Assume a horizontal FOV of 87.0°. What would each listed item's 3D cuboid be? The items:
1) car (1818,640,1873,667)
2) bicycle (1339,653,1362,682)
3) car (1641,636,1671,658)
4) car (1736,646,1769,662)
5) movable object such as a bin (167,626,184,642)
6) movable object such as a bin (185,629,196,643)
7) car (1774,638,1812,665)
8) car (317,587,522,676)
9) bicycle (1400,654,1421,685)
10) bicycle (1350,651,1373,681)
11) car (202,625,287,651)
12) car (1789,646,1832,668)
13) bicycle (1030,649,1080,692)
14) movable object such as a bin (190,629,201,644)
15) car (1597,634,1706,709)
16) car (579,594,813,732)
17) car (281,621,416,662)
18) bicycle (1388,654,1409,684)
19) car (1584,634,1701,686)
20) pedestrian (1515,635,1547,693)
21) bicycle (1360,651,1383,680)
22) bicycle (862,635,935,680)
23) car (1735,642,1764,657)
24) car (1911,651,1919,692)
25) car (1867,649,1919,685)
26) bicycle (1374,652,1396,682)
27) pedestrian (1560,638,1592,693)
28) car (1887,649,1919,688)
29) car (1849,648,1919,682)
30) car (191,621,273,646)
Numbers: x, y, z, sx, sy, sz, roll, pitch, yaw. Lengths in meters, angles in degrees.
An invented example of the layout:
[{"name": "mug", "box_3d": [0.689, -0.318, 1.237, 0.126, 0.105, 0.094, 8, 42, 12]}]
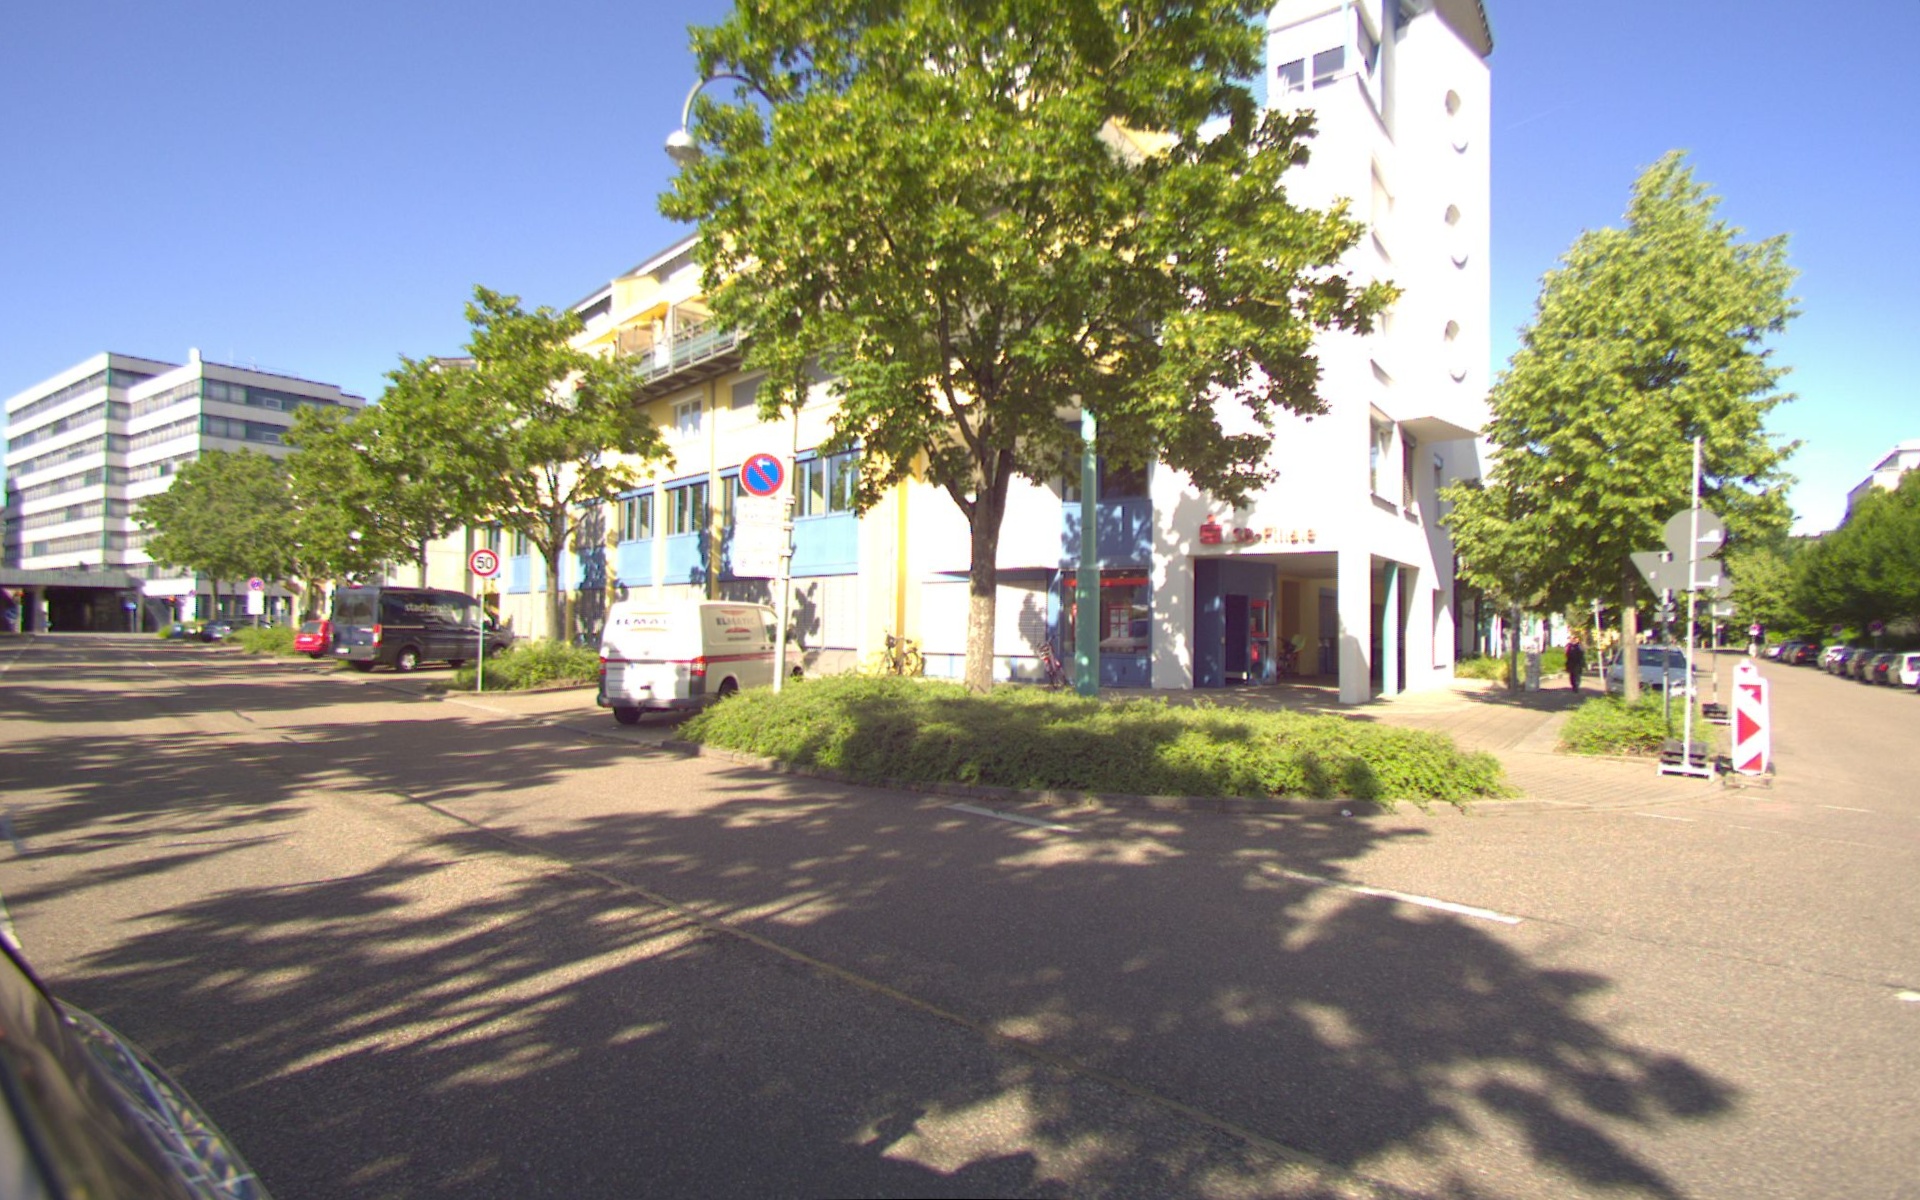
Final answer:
[{"name": "car", "box_3d": [52.686, 3.204, 60.275, 1.932, 1.516, 3.872, -4, -4, 35]}, {"name": "bicycle", "box_3d": [12.197, 2.095, 31.567, 0.287, 0.878, 1.783, 0, -3, 34]}, {"name": "car", "box_3d": [60.382, 4.092, 87.817, 1.838, 1.819, 3.958, -1, -3, 31]}, {"name": "car", "box_3d": [75.893, 5.146, 96.956, 1.993, 1.441, 4.593, 0, -3, 31]}, {"name": "movable object such as a bin", "box_3d": [-54.693, 2.376, 70.552, 0.665, 1.082, 0.805, 2, -2, -18]}, {"name": "movable object such as a bin", "box_3d": [-53.827, 2.537, 70.830, 0.469, 0.967, 0.544, 0, -1, -21]}, {"name": "car", "box_3d": [66.447, 4.102, 80.747, 1.861, 2.029, 3.955, 0, -2, 33]}, {"name": "car", "box_3d": [-16.274, 0.940, 30.890, 2.170, 2.455, 5.467, -1, -1, 21]}, {"name": "bicycle", "box_3d": [13.579, 2.081, 30.487, 0.287, 0.878, 1.783, 0, -3, 34]}, {"name": "bicycle", "box_3d": [12.440, 2.038, 31.358, 0.287, 0.878, 1.783, 0, -3, 34]}, {"name": "car", "box_3d": [-43.227, 2.270, 61.241, 1.793, 1.475, 3.982, 0, -1, 14]}, {"name": "car", "box_3d": [61.321, 4.112, 72.989, 1.932, 1.516, 3.872, -4, -4, 35]}, {"name": "bicycle", "box_3d": [2.168, 1.573, 22.918, 0.490, 0.878, 1.786, 0, -1, 28]}, {"name": "movable object such as a bin", "box_3d": [-54.241, 2.571, 71.817, 0.469, 1.048, 0.544, 0, -1, -18]}, {"name": "car", "box_3d": [16.766, 1.658, 24.572, 1.995, 1.606, 4.199, -2, -2, 35]}, {"name": "car", "box_3d": [-4.259, 0.989, 17.266, 1.979, 2.000, 4.752, -1, -2, 12]}, {"name": "car", "box_3d": [-23.443, 1.574, 38.948, 1.759, 1.487, 4.200, -1, -2, 24]}, {"name": "bicycle", "box_3d": [13.299, 2.084, 30.682, 0.287, 0.878, 1.783, 0, -3, 34]}, {"name": "car", "box_3d": [28.695, 2.496, 42.735, 3.988, 2.029, 1.978, -1, -3, 33]}, {"name": "pedestrian", "box_3d": [15.629, 1.732, 27.695, 0.717, 1.525, 0.790, -1, -1, 33]}, {"name": "bicycle", "box_3d": [12.674, 2.007, 31.149, 0.287, 0.878, 1.783, 0, -3, 34]}, {"name": "bicycle", "box_3d": [-1.557, 1.470, 25.707, 1.776, 1.106, 0.703, 4, -4, -42]}, {"name": "car", "box_3d": [81.447, 5.093, 104.416, 1.994, 1.441, 3.955, -1, -3, 33]}, {"name": "car", "box_3d": [35.841, 2.549, 36.226, 1.932, 1.516, 3.960, -4, -4, 35]}, {"name": "car", "box_3d": [41.743, 2.953, 44.677, 1.932, 1.516, 3.872, -4, -4, 35]}, {"name": "bicycle", "box_3d": [12.970, 2.042, 30.894, 0.287, 0.878, 1.783, 0, -3, 34]}, {"name": "pedestrian", "box_3d": [17.230, 1.818, 28.306, 0.678, 1.500, 0.839, 0, -3, 27]}, {"name": "car", "box_3d": [39.358, 2.738, 41.085, 1.932, 1.516, 3.872, -4, -4, 35]}, {"name": "car", "box_3d": [44.399, 3.104, 48.645, 1.932, 1.516, 3.872, -4, -4, 35]}, {"name": "car", "box_3d": [-45.298, 2.070, 63.047, 1.793, 1.475, 3.982, 0, -1, 14]}]
